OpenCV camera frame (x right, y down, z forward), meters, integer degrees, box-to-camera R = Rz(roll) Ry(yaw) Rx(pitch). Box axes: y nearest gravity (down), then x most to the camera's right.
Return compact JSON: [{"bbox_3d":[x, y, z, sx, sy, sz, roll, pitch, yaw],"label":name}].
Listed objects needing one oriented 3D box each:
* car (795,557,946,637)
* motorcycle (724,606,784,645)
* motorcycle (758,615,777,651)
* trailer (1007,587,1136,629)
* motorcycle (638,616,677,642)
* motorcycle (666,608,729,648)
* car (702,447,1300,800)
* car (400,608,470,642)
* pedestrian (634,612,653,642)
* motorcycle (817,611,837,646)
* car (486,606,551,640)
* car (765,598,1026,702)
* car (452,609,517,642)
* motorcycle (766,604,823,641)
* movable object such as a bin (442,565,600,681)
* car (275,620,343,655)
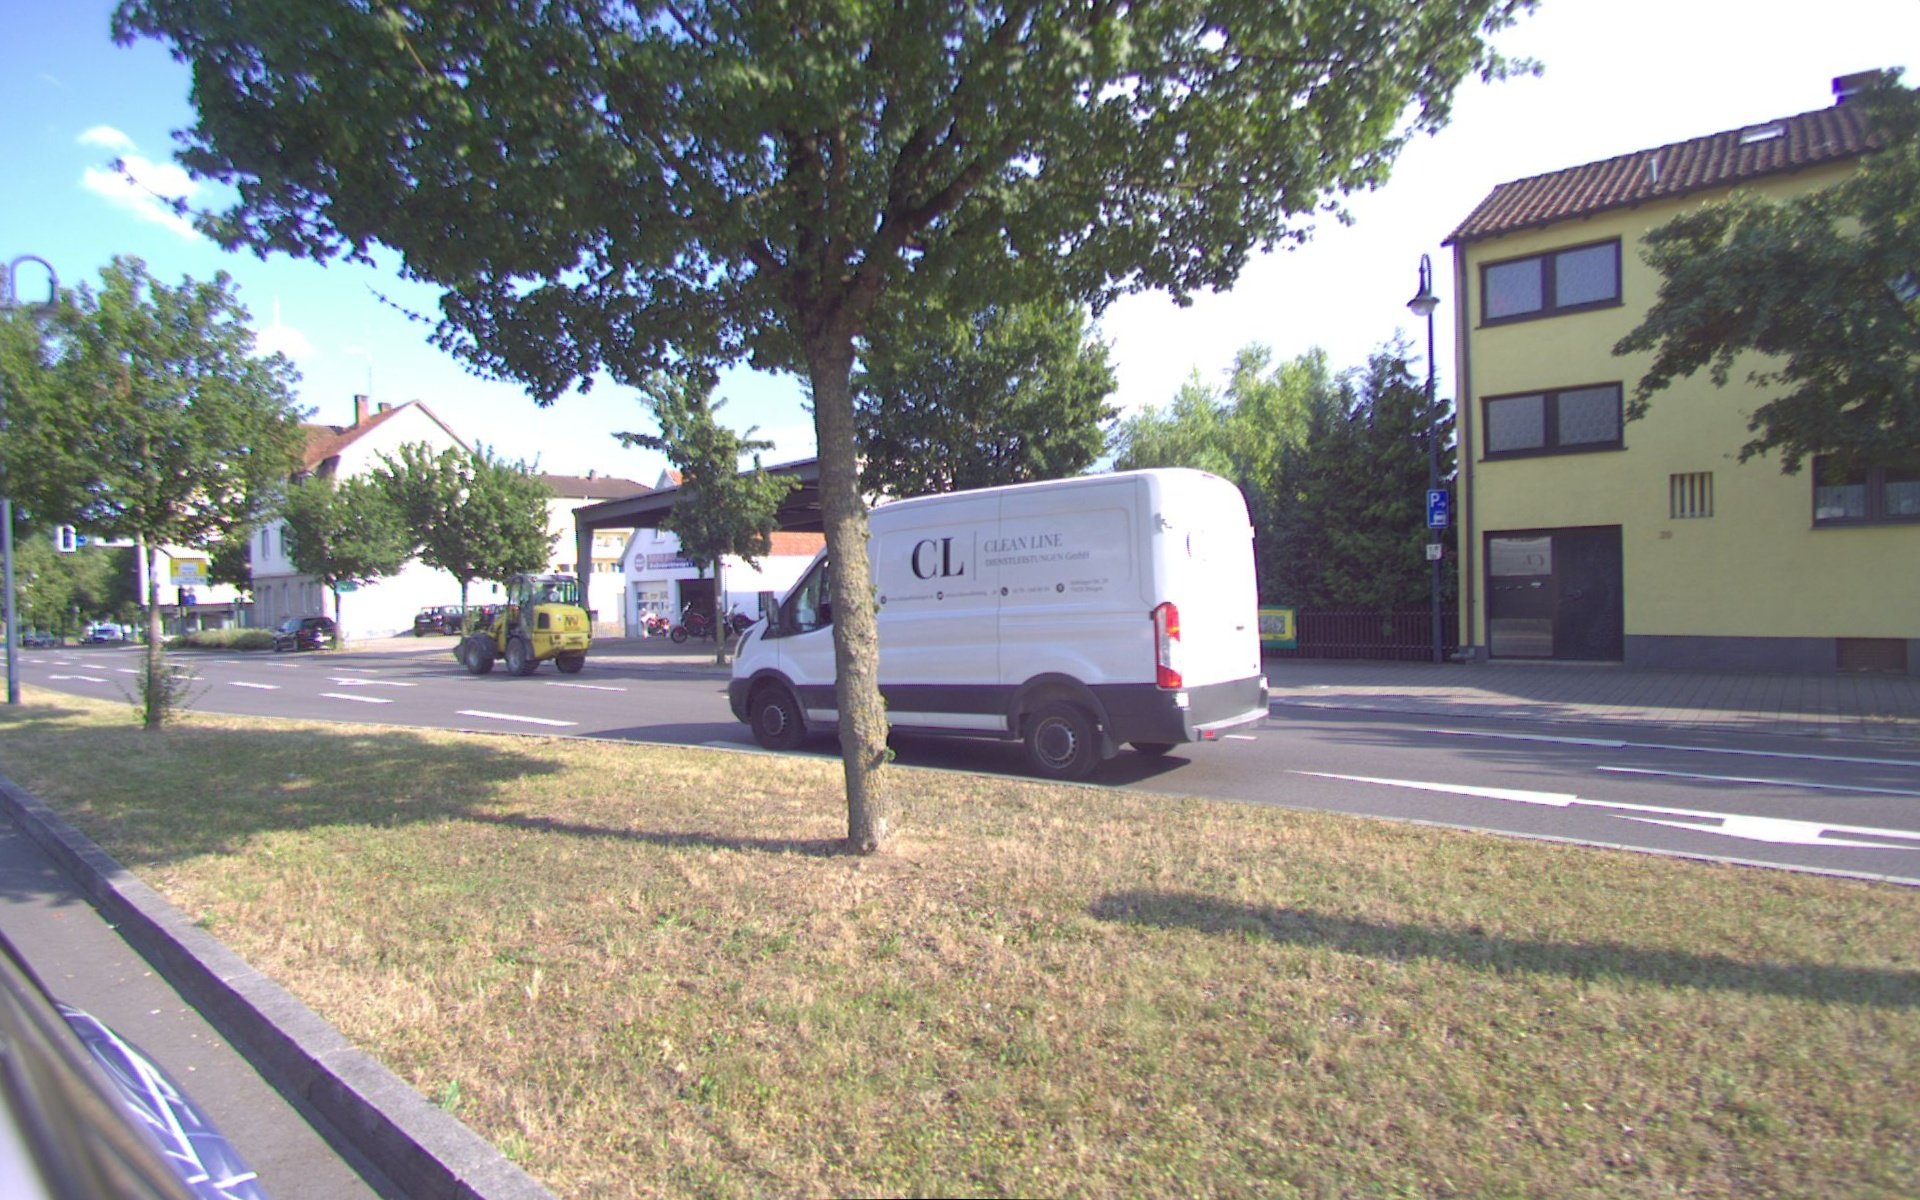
[{"bbox_3d":[-3.651,-0.086,41.916,5.733,2.982,2.671,-2,-1,8],"label":"car"},{"bbox_3d":[-7.535,0.936,37.046,2.094,1.332,0.487,-2,-1,8],"label":"motorcycle"},{"bbox_3d":[-6.137,1.030,32.392,0.542,1.107,2.052,-2,-1,-10],"label":"motorcycle"},{"bbox_3d":[3.451,0.231,31.273,3.312,1.121,2.174,-2,1,-34],"label":"trailer"},{"bbox_3d":[-14.115,1.334,47.191,2.113,1.155,0.483,-2,-1,34],"label":"motorcycle"},{"bbox_3d":[-9.202,0.986,35.434,2.095,1.332,0.487,-2,-1,10],"label":"motorcycle"},{"bbox_3d":[0.143,0.212,9.637,5.470,2.494,2.065,-2,-1,37],"label":"car"},{"bbox_3d":[-26.465,1.226,51.114,1.835,1.638,3.411,-1,-1,-1],"label":"car"},{"bbox_3d":[-14.702,1.261,46.980,0.583,1.350,0.590,-2,-1,33],"label":"pedestrian"},{"bbox_3d":[-4.474,0.950,34.022,0.542,1.107,2.052,-2,-1,-10],"label":"motorcycle"},{"bbox_3d":[-21.560,1.100,49.564,1.599,1.555,3.430,-1,-1,1],"label":"car"},{"bbox_3d":[-1.132,0.737,16.093,4.213,1.425,1.673,-2,-1,42],"label":"car"},{"bbox_3d":[-23.905,1.249,50.965,1.566,1.576,3.430,-1,0,1],"label":"car"},{"bbox_3d":[-6.367,0.858,38.936,2.089,1.332,0.488,-2,-1,0],"label":"motorcycle"},{"bbox_3d":[-10.485,0.541,23.981,4.977,2.480,1.536,-1,-1,42],"label":"movable object such as a bin"},{"bbox_3d":[-28.214,1.596,43.845,3.432,1.327,1.651,-1,3,44],"label":"car"}]
